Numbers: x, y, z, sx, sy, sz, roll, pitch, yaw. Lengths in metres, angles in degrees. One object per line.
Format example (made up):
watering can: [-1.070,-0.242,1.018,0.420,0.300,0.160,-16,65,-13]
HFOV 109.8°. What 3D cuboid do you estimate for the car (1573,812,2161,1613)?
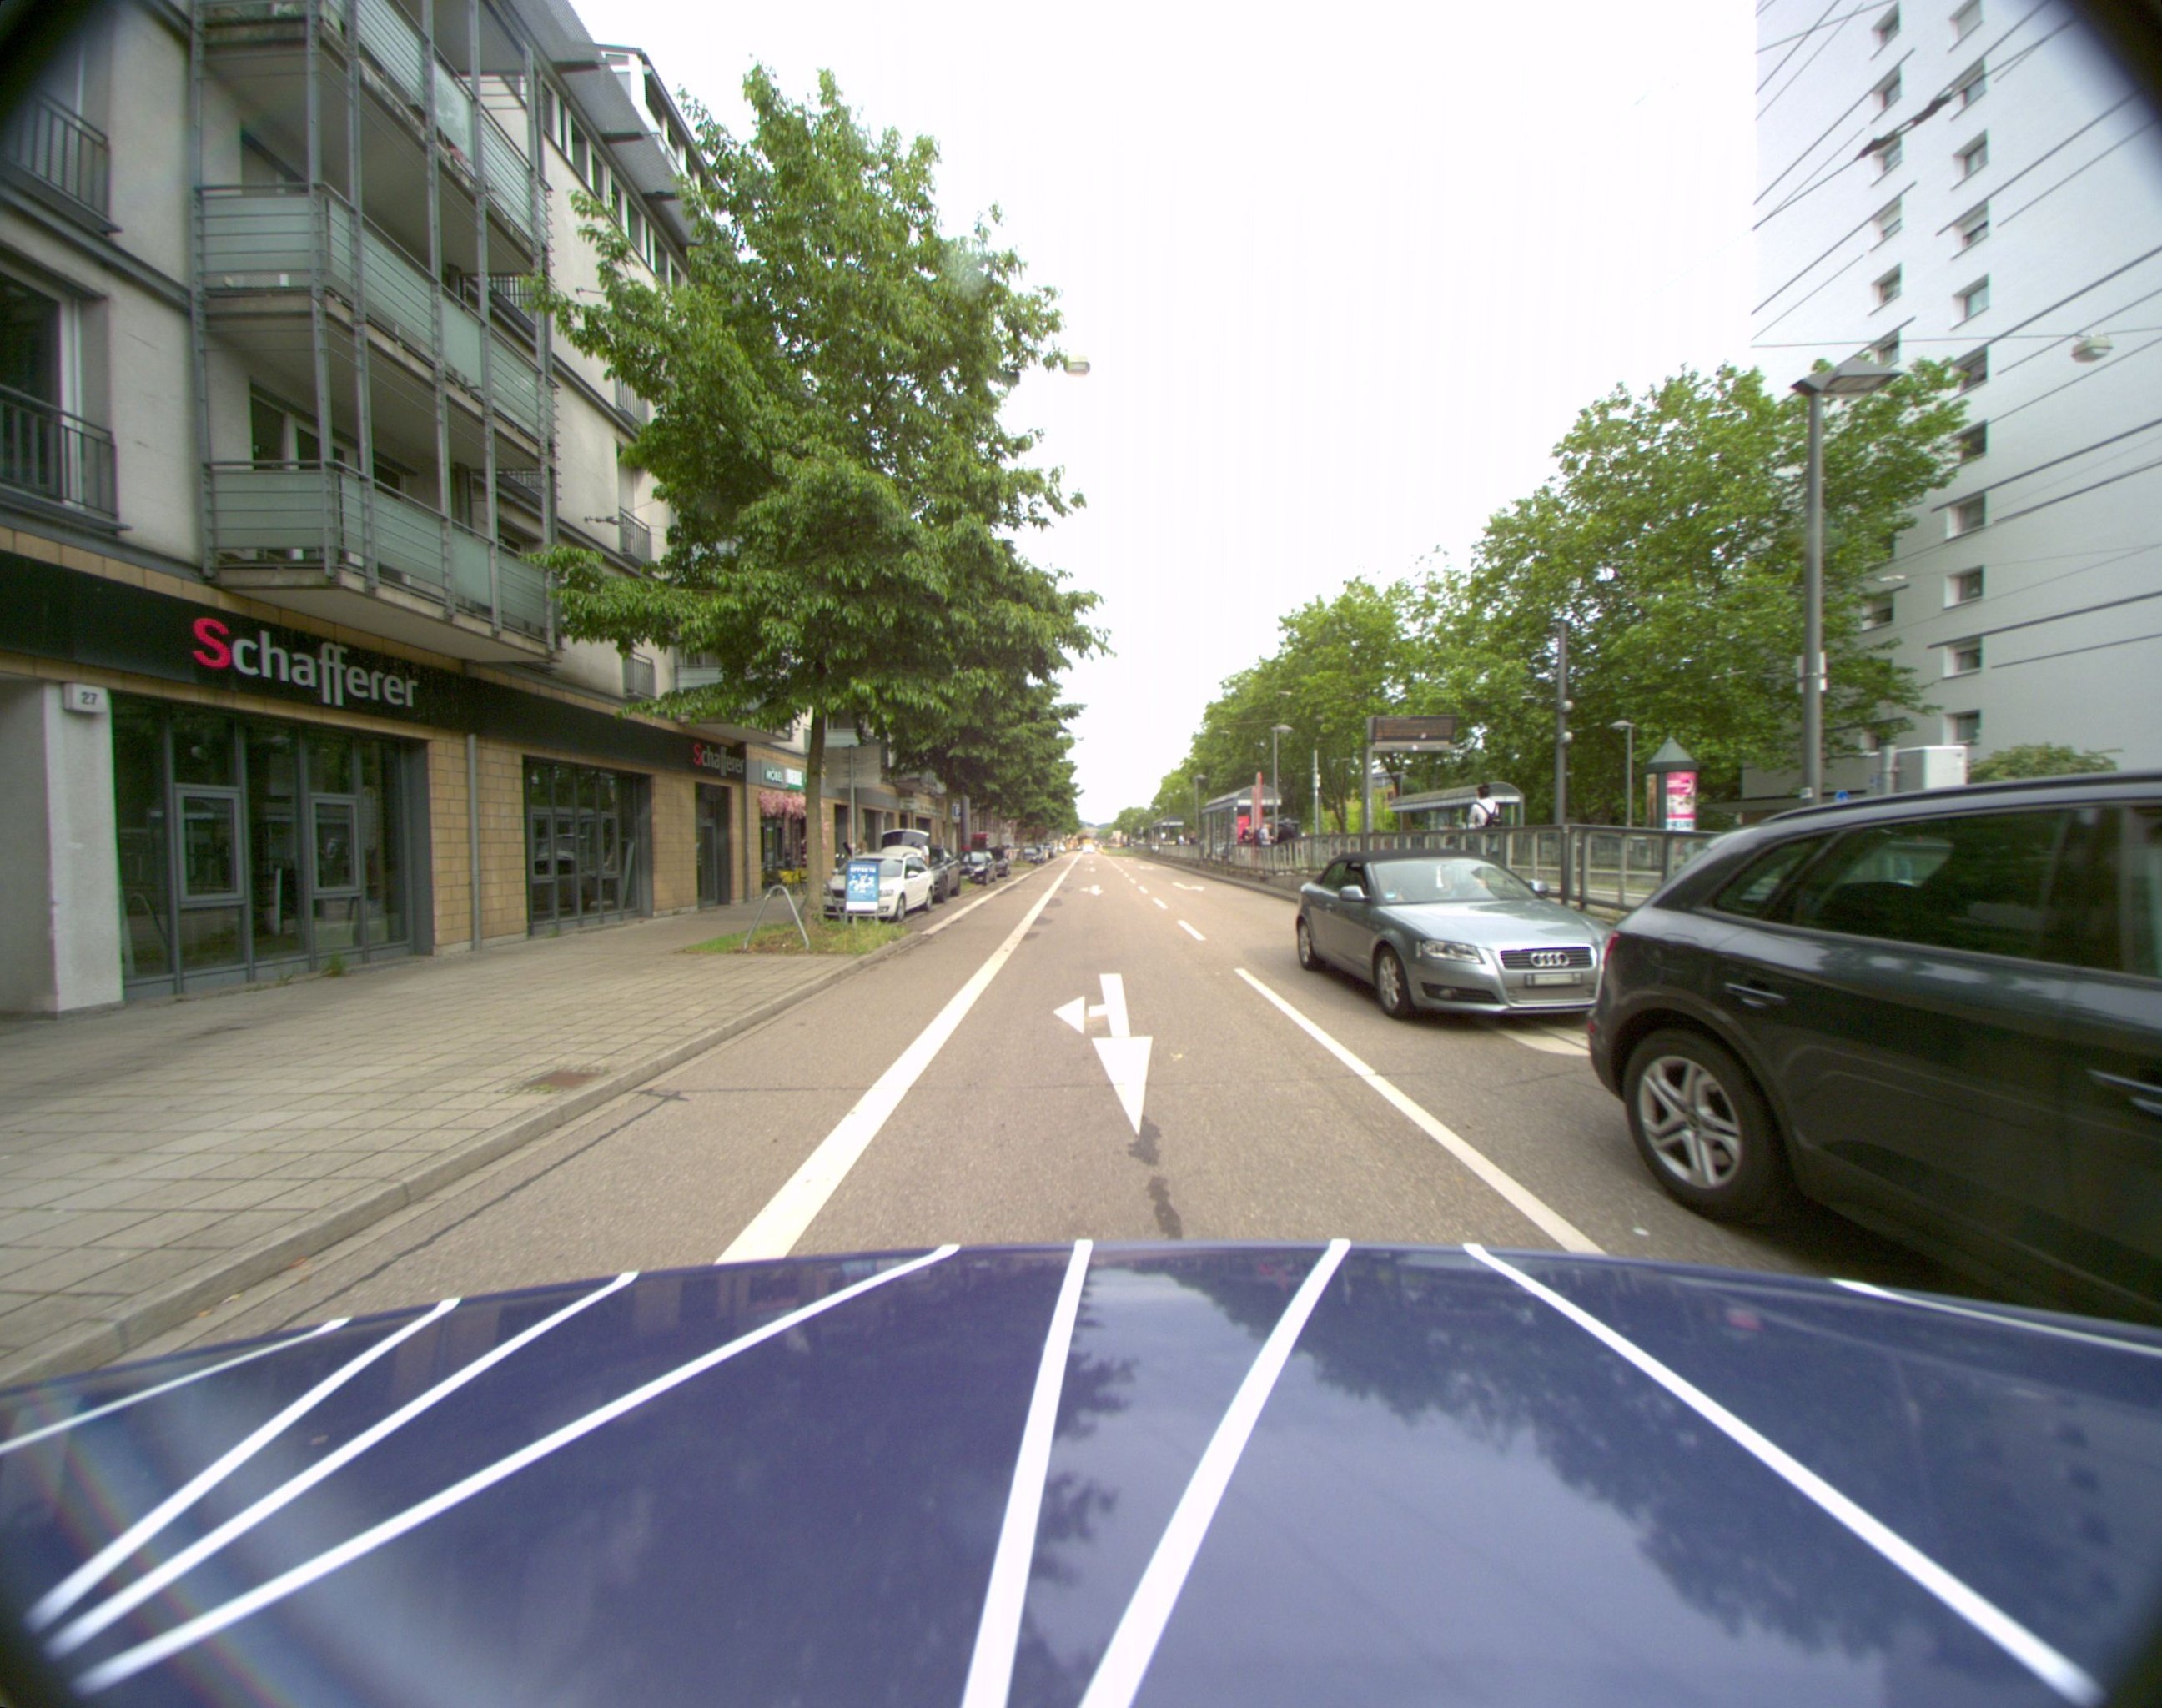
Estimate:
car: [3.158,0.722,1.238,1.916,1.638,4.367,-2,1,1]

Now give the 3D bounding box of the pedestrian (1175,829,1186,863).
pedestrian: [6.042,-0.496,46.208,0.585,2.039,0.821,-2,2,4]

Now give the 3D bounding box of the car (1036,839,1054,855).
car: [-3.902,-0.793,83.112,1.730,1.675,3.815,1,1,1]

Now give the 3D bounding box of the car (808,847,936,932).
car: [-4.643,0.697,17.511,1.730,1.652,4.103,1,1,1]

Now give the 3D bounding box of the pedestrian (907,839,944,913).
pedestrian: [-4.140,0.585,20.267,0.652,1.922,0.643,-2,2,16]

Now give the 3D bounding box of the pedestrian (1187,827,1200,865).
pedestrian: [6.090,-0.420,41.139,0.585,2.039,0.821,-2,2,4]

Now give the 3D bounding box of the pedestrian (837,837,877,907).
pedestrian: [-5.942,0.470,20.191,0.745,1.795,0.839,-2,1,0]

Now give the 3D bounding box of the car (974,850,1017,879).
car: [-4.410,0.510,39.605,1.730,1.375,3.815,1,1,1]

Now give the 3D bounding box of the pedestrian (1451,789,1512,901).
pedestrian: [6.391,-0.142,12.141,0.662,1.741,0.534,-2,2,1]

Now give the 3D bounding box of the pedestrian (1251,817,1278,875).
pedestrian: [5.830,-0.264,24.170,0.683,1.781,0.821,-2,1,4]

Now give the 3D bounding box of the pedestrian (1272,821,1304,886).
pedestrian: [5.767,-0.012,21.174,0.661,1.781,0.535,-1,2,41]

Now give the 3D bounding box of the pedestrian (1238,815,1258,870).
pedestrian: [6.349,-0.441,28.958,0.585,2.039,0.821,-2,2,4]

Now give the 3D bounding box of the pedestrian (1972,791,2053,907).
pedestrian: [14.848,-0.079,12.119,0.622,1.779,0.534,-2,2,1]

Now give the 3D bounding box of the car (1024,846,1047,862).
car: [-3.958,-0.034,67.072,1.730,1.375,3.815,1,1,1]

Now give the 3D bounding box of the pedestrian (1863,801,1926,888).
pedestrian: [15.930,-0.183,14.892,0.622,1.659,0.565,-2,2,1]

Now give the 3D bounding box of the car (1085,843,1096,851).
car: [1.546,-1.177,123.532,1.865,1.339,3.815,1,1,1]

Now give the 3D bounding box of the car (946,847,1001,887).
car: [-4.425,0.479,31.824,1.684,1.536,3.942,1,1,1]

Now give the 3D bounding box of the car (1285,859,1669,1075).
car: [3.308,0.807,7.320,1.637,1.367,4.013,-2,1,1]

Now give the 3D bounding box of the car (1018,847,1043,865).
car: [-3.992,0.133,60.602,1.730,1.375,3.815,1,1,1]

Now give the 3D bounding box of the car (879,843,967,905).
car: [-4.587,0.527,22.652,1.730,1.652,3.942,1,1,1]

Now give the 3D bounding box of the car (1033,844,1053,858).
car: [-3.833,-0.310,77.303,1.730,1.375,3.815,1,1,1]

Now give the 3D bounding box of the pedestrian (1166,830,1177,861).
pedestrian: [6.078,-0.580,51.079,0.585,2.039,0.821,-2,2,4]
